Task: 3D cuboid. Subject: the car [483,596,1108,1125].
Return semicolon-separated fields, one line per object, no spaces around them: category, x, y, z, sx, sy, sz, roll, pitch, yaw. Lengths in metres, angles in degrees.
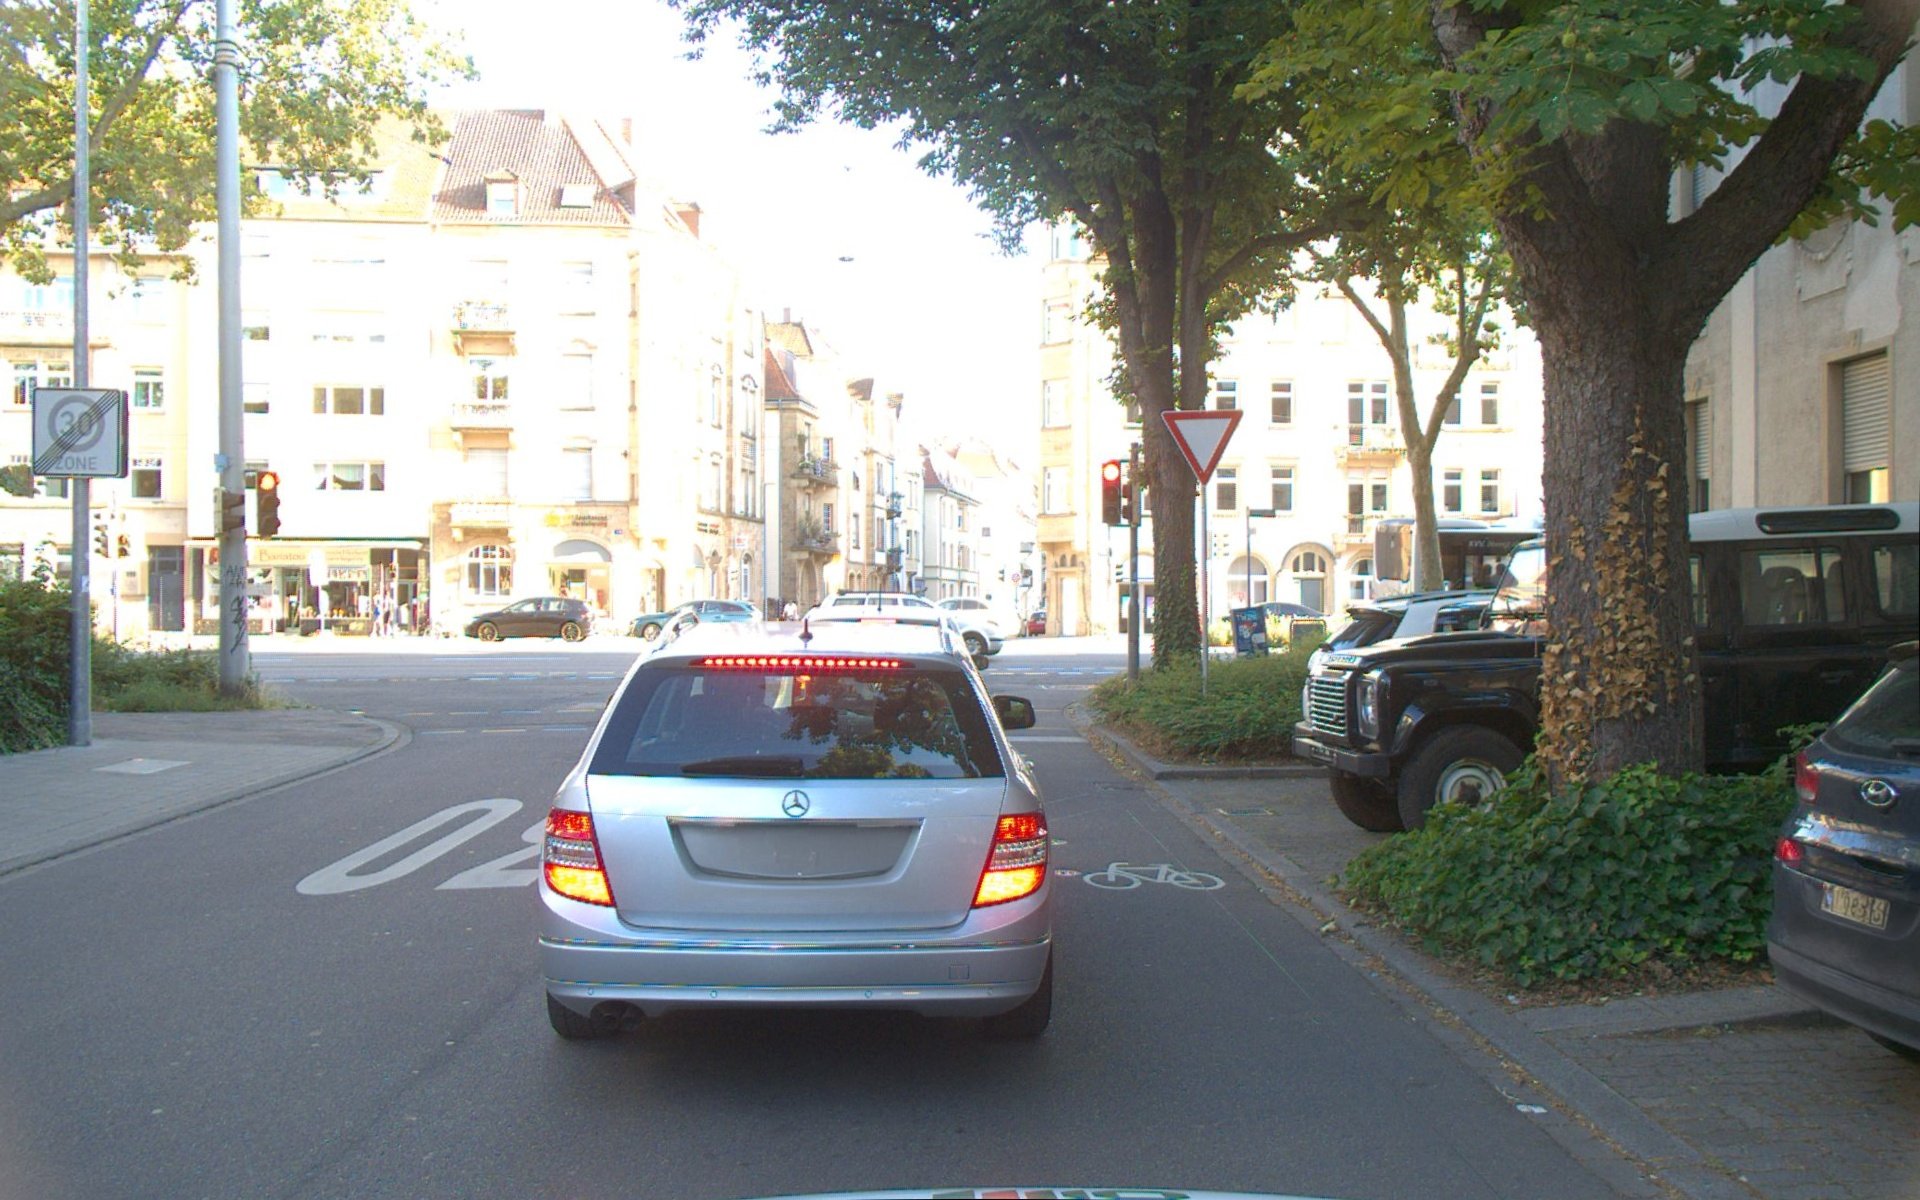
car;-0.548;0.735;6.932;1.741;1.477;4.546;1;0;-2

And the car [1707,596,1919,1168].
car;4.287;0.697;4.595;3.650;1.477;1.707;-1;0;-4

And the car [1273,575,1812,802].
car;4.513;0.652;13.141;3.650;1.597;1.707;-1;0;-4

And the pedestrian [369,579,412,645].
pedestrian;-21.891;0.474;63.594;1.320;2.507;1.059;0;0;-5

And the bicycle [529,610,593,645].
bicycle;-14.545;0.985;60.339;2.212;1.268;0.636;0;0;-5

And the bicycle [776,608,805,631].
bicycle;-7.500;0.856;73.249;0.754;0.956;1.942;1;0;10

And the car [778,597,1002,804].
car;-0.588;0.724;14.022;1.587;1.472;4.342;1;0;-2

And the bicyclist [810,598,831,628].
bicyclist;-6.202;0.571;73.358;0.754;1.312;0.753;1;0;10

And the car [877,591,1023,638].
car;-0.369;0.471;53.989;4.613;1.486;1.834;0;0;-7

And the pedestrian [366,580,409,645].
pedestrian;-22.386;0.478;64.699;1.320;2.507;1.059;0;0;-5

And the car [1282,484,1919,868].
car;4.372;0.406;10.173;4.377;2.072;1.699;-1;0;-4

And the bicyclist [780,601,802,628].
bicyclist;-7.482;0.631;73.328;0.754;1.177;0.753;1;0;10

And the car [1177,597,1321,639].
car;10.365;0.625;59.499;4.788;1.477;1.857;0;0;-5

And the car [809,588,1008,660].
car;-1.175;0.506;36.537;4.263;1.523;1.659;0;0;-7

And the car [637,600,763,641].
car;-8.787;0.687;56.092;4.140;1.372;1.662;0;0;-7

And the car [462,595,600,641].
car;-13.389;0.563;51.809;3.956;1.384;1.661;0;0;-7

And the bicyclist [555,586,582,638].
bicyclist;-14.301;0.438;60.360;0.874;1.892;0.636;0;0;-5

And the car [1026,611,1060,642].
car;5.124;1.633;101.976;1.796;1.775;4.003;0;1;7

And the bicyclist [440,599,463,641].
bicyclist;-17.551;0.686;57.122;0.631;1.451;0.636;0;0;-6

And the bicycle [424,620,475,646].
bicycle;-17.621;1.131;57.115;1.586;0.892;0.636;0;0;-6

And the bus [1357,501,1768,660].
bus;12.999;-0.435;35.960;8.024;3.257;2.906;-1;0;-9
